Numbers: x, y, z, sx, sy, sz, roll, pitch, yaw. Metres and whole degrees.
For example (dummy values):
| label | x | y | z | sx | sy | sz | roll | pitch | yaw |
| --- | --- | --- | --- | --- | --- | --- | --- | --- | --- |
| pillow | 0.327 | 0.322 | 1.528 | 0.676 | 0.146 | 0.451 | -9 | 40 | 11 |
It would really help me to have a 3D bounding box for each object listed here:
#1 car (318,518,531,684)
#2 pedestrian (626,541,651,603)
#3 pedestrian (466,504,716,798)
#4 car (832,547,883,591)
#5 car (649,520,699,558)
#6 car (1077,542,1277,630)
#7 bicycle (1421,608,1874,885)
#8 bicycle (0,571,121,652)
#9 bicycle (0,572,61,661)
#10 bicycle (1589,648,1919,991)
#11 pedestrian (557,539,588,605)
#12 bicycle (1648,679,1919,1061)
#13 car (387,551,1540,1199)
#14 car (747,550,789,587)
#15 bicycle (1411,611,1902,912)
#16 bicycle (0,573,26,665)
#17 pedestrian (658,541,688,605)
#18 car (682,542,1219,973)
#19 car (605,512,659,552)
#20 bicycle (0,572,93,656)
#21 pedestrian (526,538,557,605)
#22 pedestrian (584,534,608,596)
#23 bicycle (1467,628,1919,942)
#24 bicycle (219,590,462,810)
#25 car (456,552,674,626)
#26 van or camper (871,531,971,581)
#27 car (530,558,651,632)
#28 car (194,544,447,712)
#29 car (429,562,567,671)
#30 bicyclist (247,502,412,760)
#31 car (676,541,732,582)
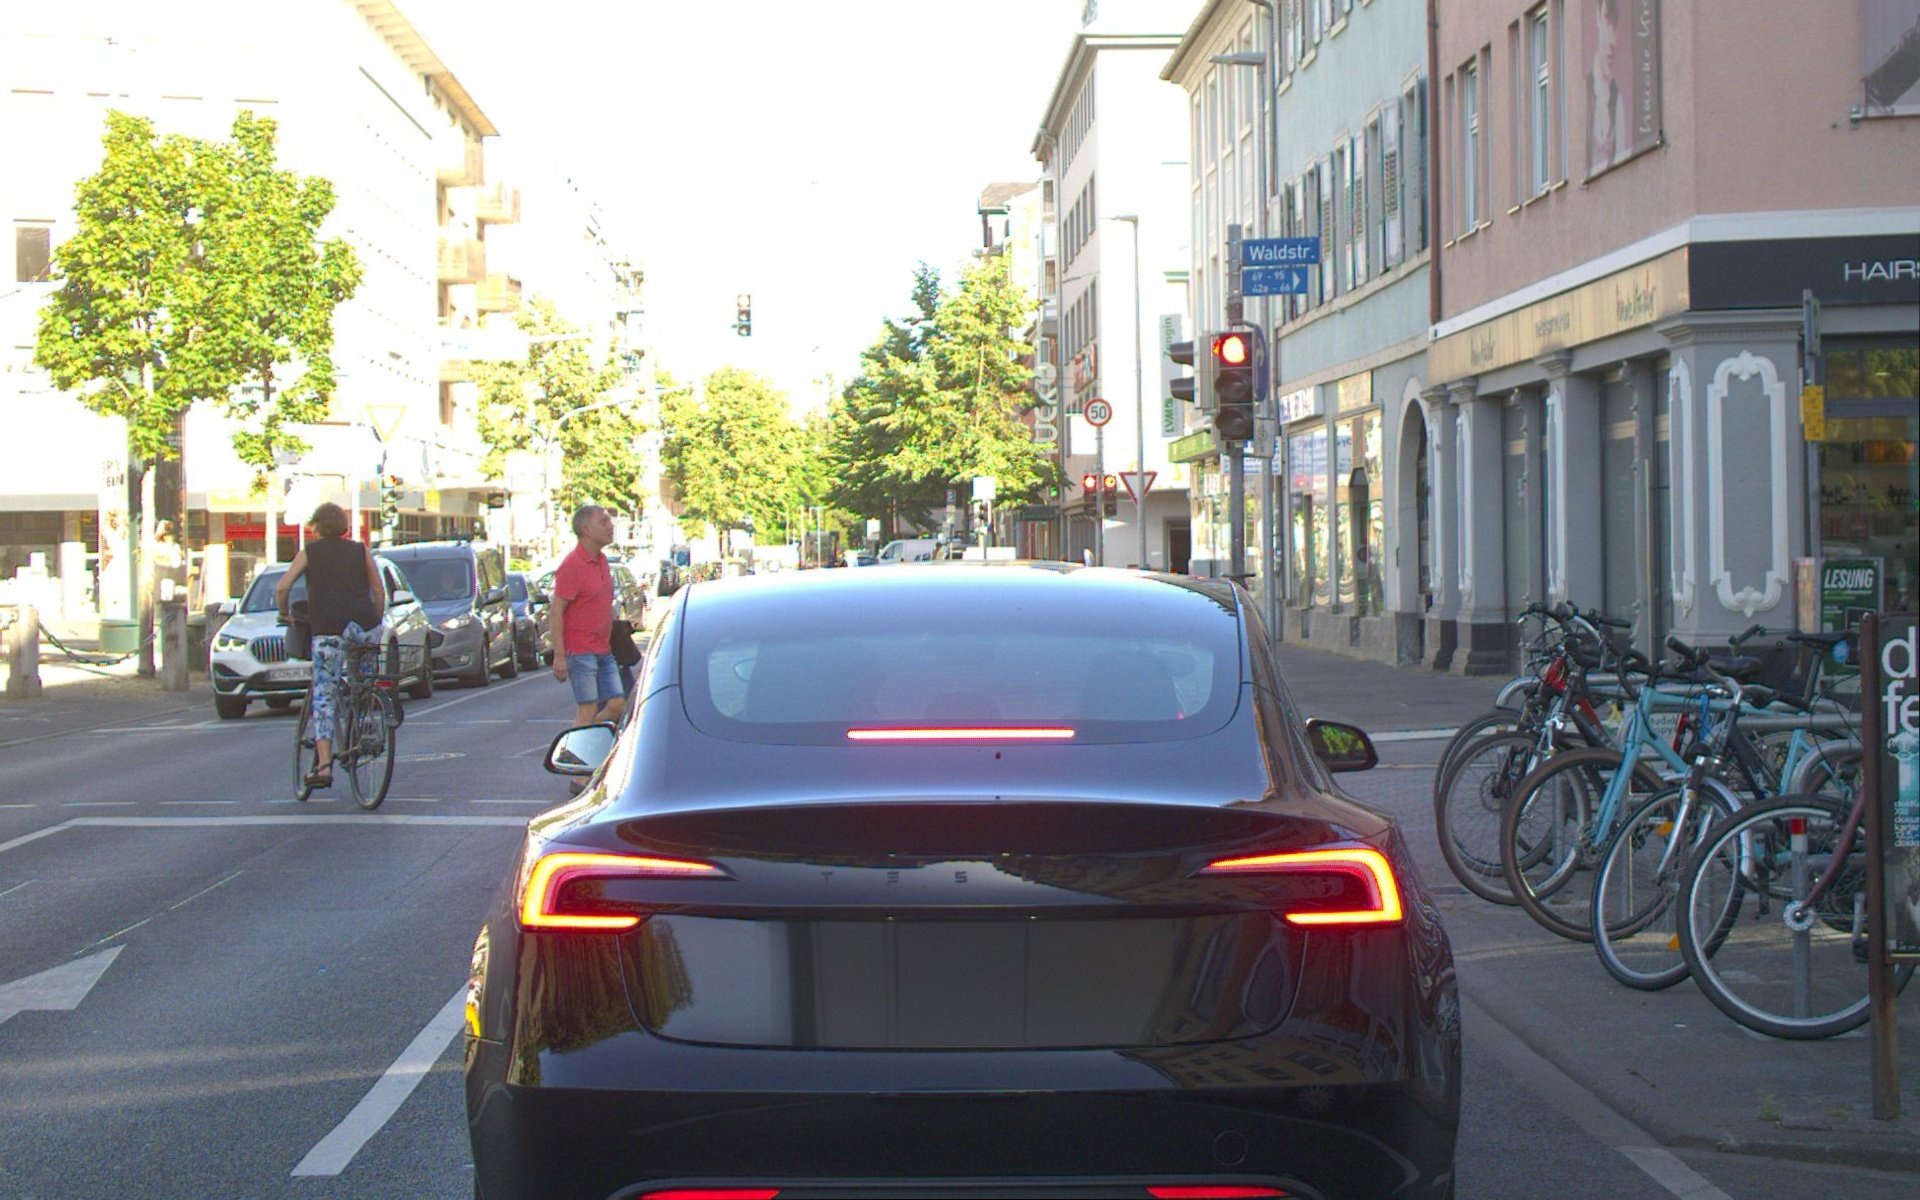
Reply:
| label | x | y | z | sx | sy | sz | roll | pitch | yaw |
| --- | --- | --- | --- | --- | --- | --- | --- | --- | --- |
| car | -6.572 | -0.031 | 42.670 | 1.945 | 1.940 | 4.820 | 0 | 1 | -1 |
| pedestrian | -9.783 | -0.854 | 104.583 | 0.694 | 1.861 | 0.910 | 1 | 0 | -9 |
| pedestrian | -2.226 | 0.292 | 20.804 | 1.111 | 1.714 | 1.060 | 1 | 0 | 23 |
| car | -4.211 | -1.298 | 141.935 | 2.035 | 1.782 | 4.006 | 0 | 1 | -1 |
| car | -15.653 | -3.351 | 188.288 | 2.275 | 2.007 | 4.717 | 1 | 1 | 1 |
| car | 4.708 | -0.320 | 74.682 | 3.992 | 1.861 | 1.698 | 0 | 1 | -21 |
| bicycle | 2.924 | 0.615 | 14.744 | 1.813 | 1.148 | 0.653 | 0 | 1 | 1 |
| bicycle | -14.695 | 0.168 | 54.571 | 2.542 | 1.247 | 0.943 | 1 | 0 | -3 |
| bicycle | -14.488 | 0.222 | 49.872 | 2.662 | 1.255 | 0.943 | 1 | 0 | -3 |
| bicycle | 3.002 | 0.696 | 11.129 | 1.813 | 1.056 | 0.653 | 0 | 1 | 1 |
| pedestrian | -10.957 | -0.797 | 97.208 | 0.732 | 1.861 | 0.791 | 1 | 0 | -17 |
| bicycle | 3.028 | 0.762 | 10.057 | 1.882 | 1.040 | 0.653 | -1 | 1 | 1 |
| car | -0.022 | 0.632 | 7.781 | 1.850 | 1.442 | 4.452 | 1 | 1 | -1 |
| car | -10.446 | -1.736 | 187.141 | 2.132 | 1.963 | 4.134 | 0 | 1 | -1 |
| bicycle | 2.733 | 0.623 | 13.609 | 1.813 | 1.148 | 0.653 | 0 | 1 | 1 |
| bicycle | -14.486 | 0.240 | 47.553 | 2.875 | 1.266 | 0.943 | 1 | 0 | -3 |
| pedestrian | -8.424 | -0.799 | 100.924 | 0.774 | 1.861 | 1.009 | 1 | 0 | -9 |
| car | -0.058 | 0.527 | 14.205 | 1.850 | 1.476 | 4.452 | 1 | 1 | -1 |
| car | -17.129 | -3.531 | 179.648 | 2.275 | 2.007 | 4.717 | 1 | 1 | 1 |
| bicycle | -14.533 | 0.195 | 52.147 | 2.542 | 1.247 | 0.943 | 1 | 0 | -3 |
| pedestrian | -11.803 | -0.805 | 96.899 | 0.732 | 1.861 | 0.791 | 1 | 0 | -17 |
| pedestrian | -10.997 | -1.069 | 103.885 | 0.695 | 1.861 | 0.659 | 1 | 0 | -5 |
| bicycle | 2.802 | 0.660 | 12.536 | 1.813 | 1.098 | 0.653 | 0 | 1 | 1 |
| bicycle | -3.650 | 0.567 | 20.122 | 0.628 | 1.219 | 2.000 | 0 | 0 | -34 |
| car | -9.259 | -0.261 | 80.656 | 4.697 | 1.425 | 1.736 | -4 | 1 | -24 |
| van or camper | -1.904 | -2.129 | 167.555 | 4.850 | 2.430 | 1.851 | 0 | 1 | -1 |
| car | -7.269 | -0.117 | 67.930 | 1.694 | 1.385 | 3.915 | 1 | 1 | 4 |
| car | -6.686 | 0.259 | 36.347 | 1.825 | 1.559 | 4.301 | -4 | 1 | -1 |
| car | -6.654 | 0.210 | 49.804 | 1.461 | 1.425 | 3.606 | -4 | 1 | -1 |
| bicyclist | -3.718 | 0.171 | 20.241 | 0.606 | 1.479 | 0.958 | 1 | 1 | -34 |
| car | -12.398 | -1.865 | 166.458 | 2.414 | 1.963 | 4.678 | 0 | 1 | -1 |
